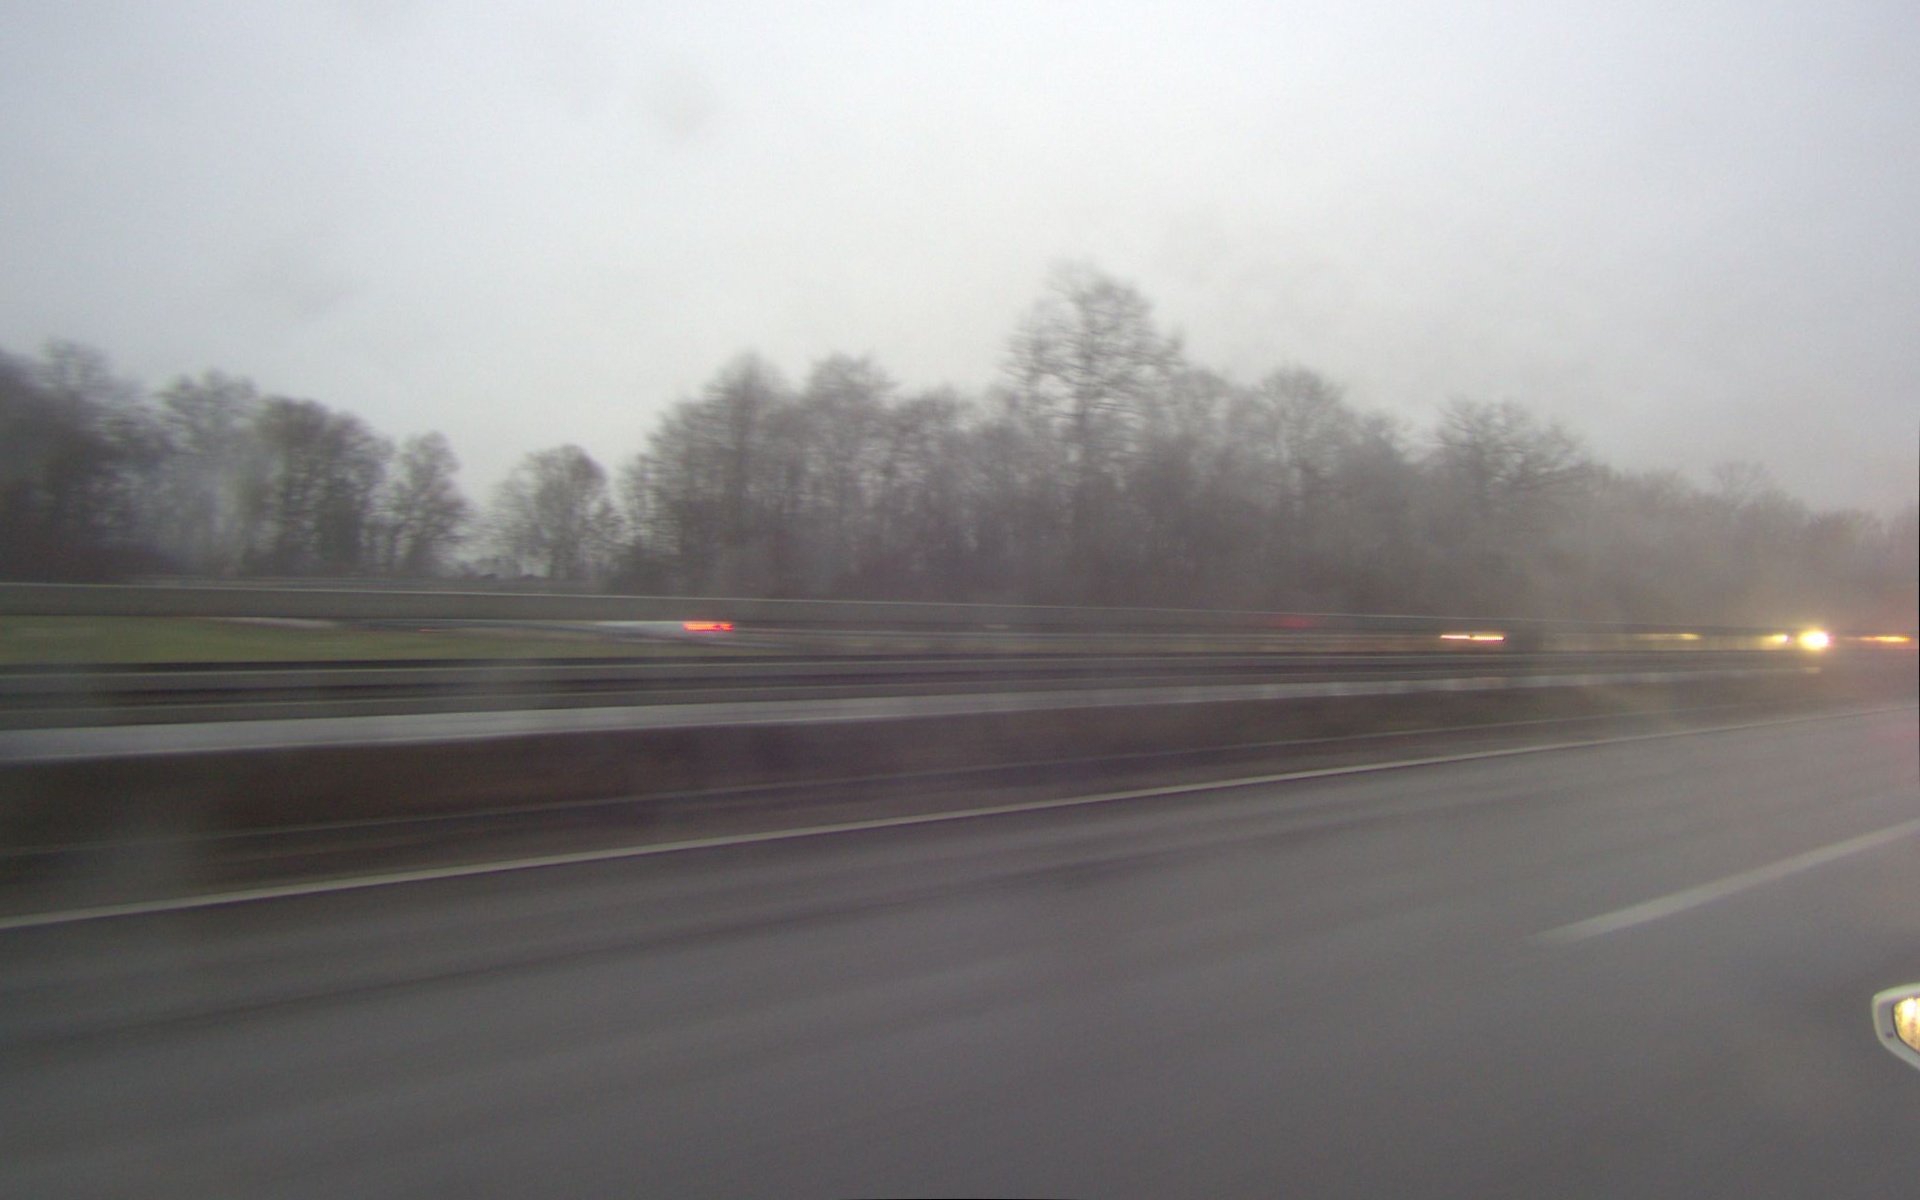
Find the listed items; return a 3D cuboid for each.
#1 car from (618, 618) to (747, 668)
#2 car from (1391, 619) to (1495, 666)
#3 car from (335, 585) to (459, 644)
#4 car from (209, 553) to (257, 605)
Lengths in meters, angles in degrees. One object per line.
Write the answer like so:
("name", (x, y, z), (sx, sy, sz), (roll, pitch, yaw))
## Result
("car", (-9.707, 1.470, 35.264), (3.919, 1.507, 1.750), (2, 1, 9))
("car", (17.478, 1.512, 36.290), (3.962, 1.507, 1.731), (1, 1, -36))
("car", (-19.504, 0.482, 34.795), (3.924, 1.840, 1.747), (2, 1, 25))
("car", (-45.119, -1.334, 62.305), (1.985, 2.037, 3.958), (-2, 21, -42))
